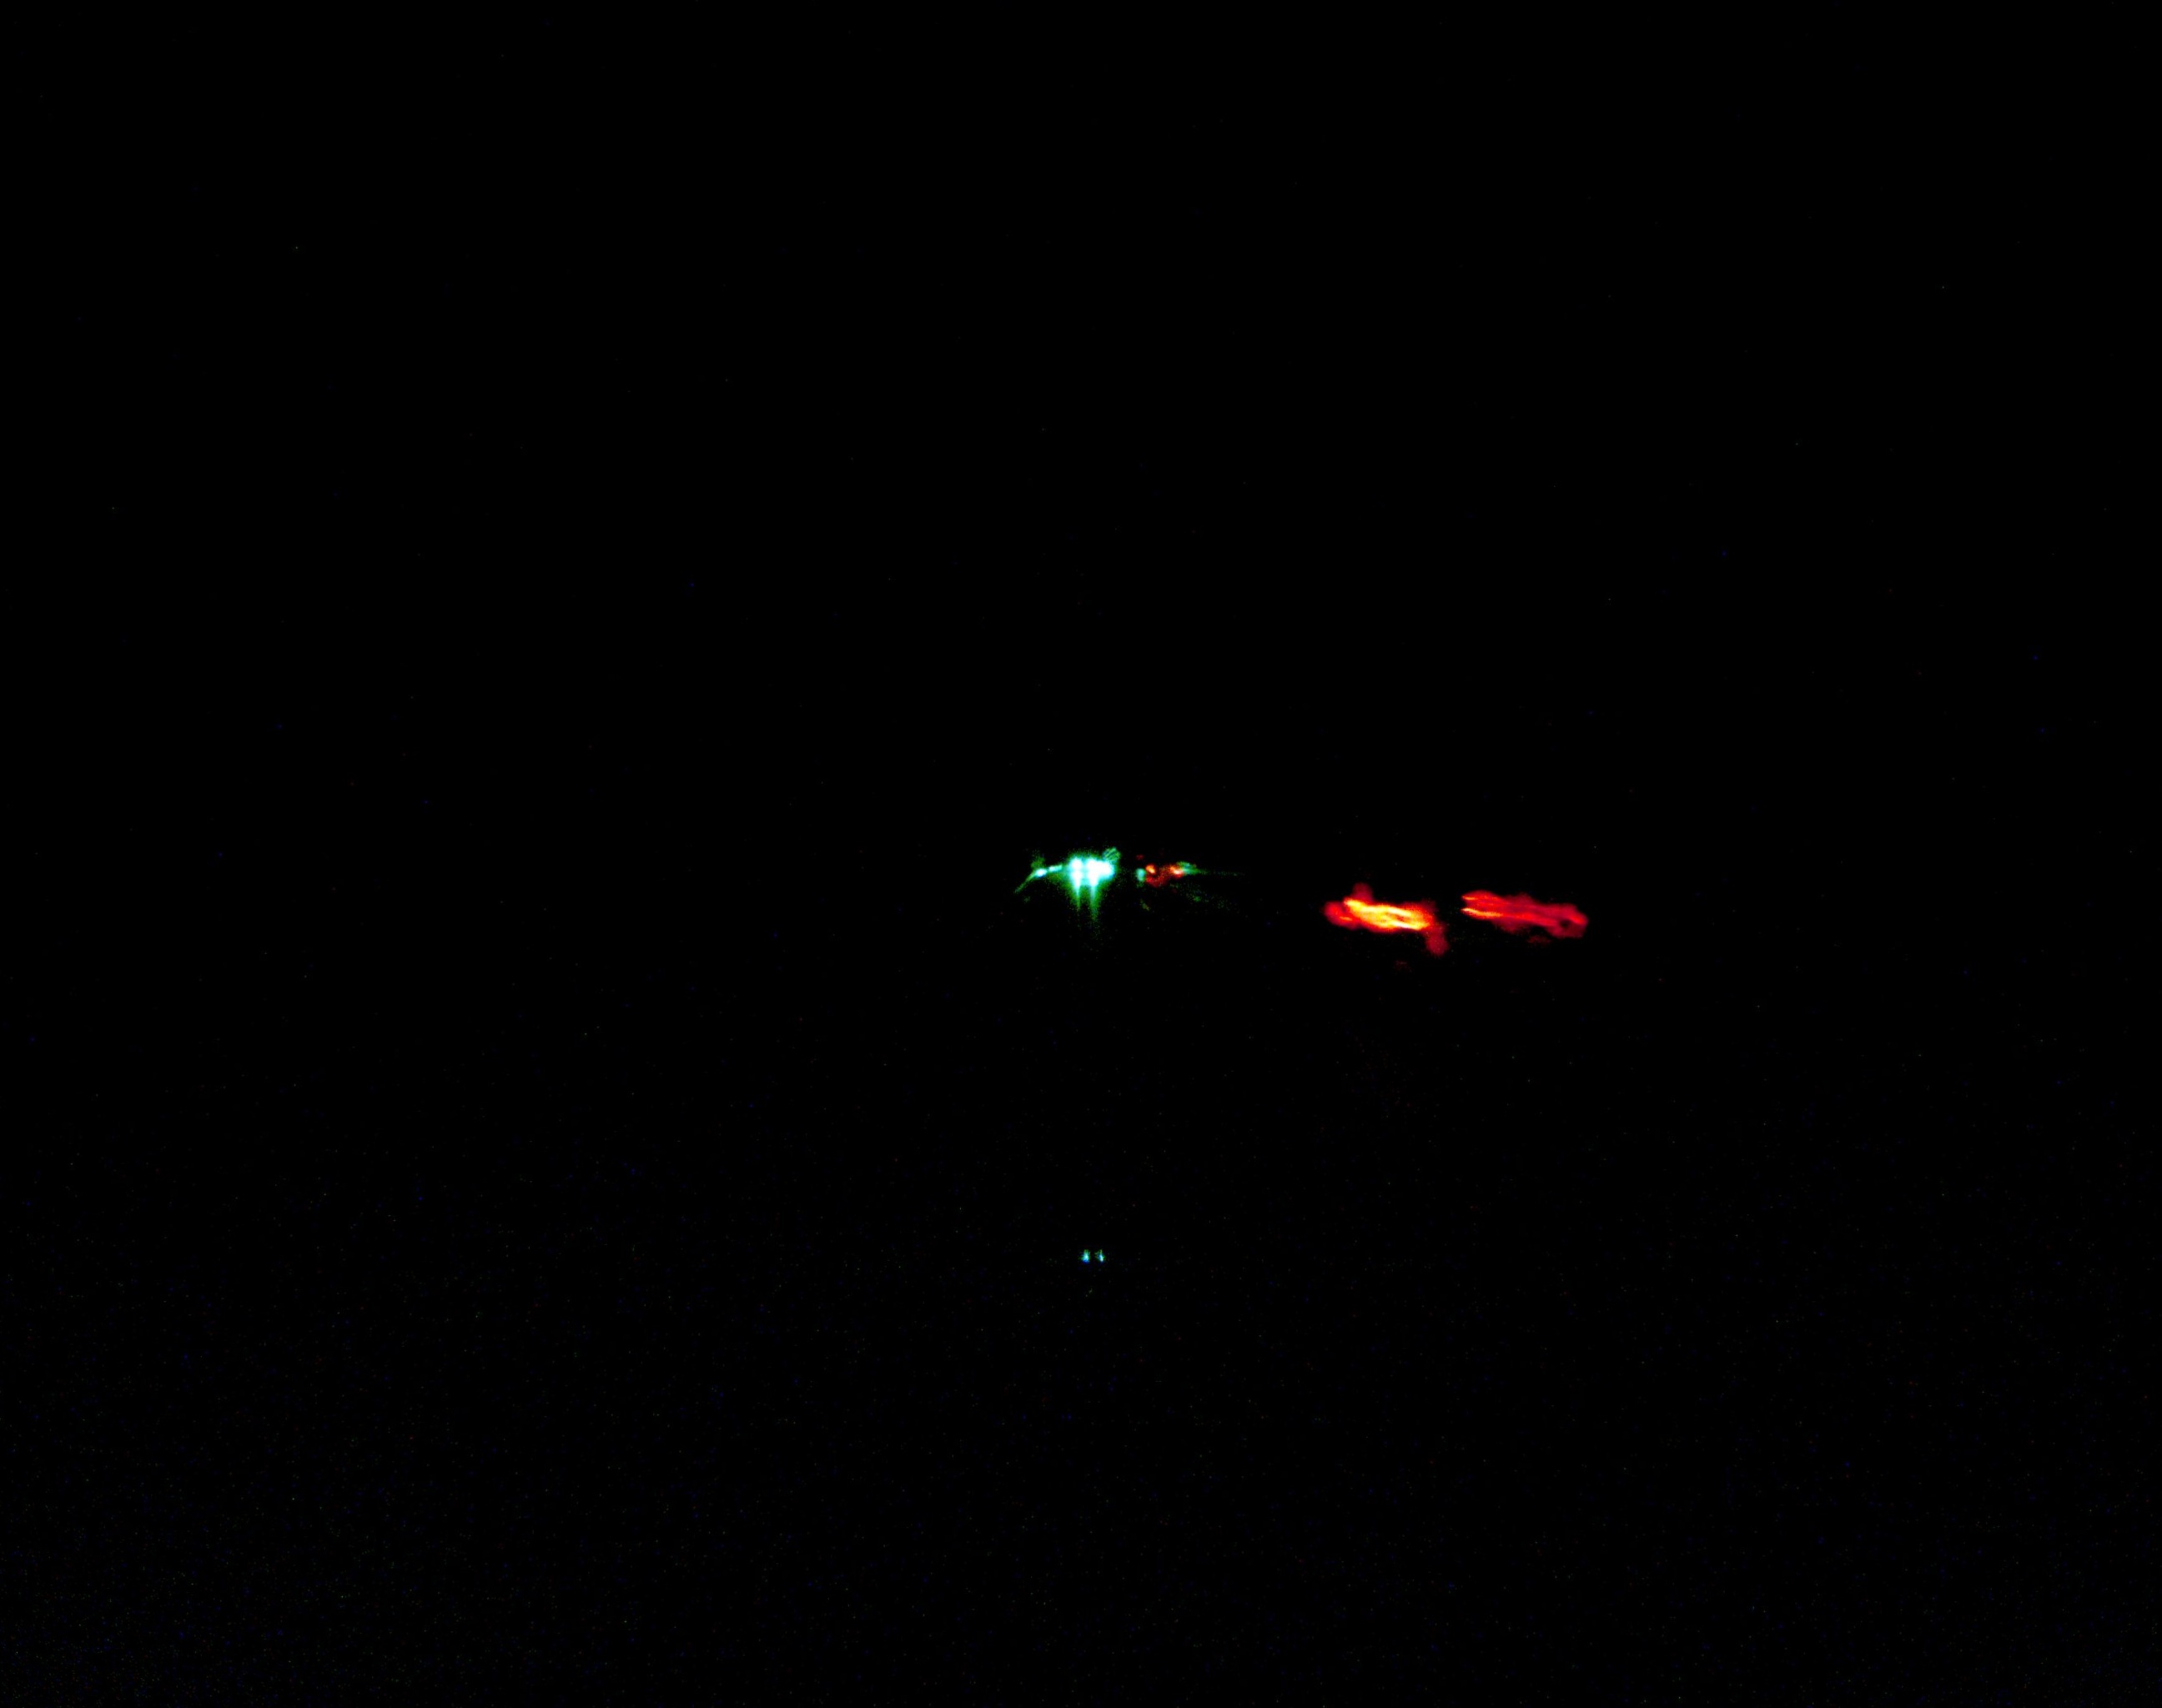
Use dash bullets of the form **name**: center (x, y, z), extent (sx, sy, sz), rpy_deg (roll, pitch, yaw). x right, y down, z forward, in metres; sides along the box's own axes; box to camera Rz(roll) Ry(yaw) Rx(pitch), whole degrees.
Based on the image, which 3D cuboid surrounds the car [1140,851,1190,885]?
- **car**: center (4.078, 0.661, 37.534), extent (1.998, 1.467, 3.924), rpy_deg (-3, 1, 1)

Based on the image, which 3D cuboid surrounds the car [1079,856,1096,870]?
- **car**: center (0.683, 0.984, 84.386), extent (1.807, 1.452, 4.275), rpy_deg (-3, 0, 0)

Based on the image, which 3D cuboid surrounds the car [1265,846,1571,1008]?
- **car**: center (3.741, 0.672, 9.386), extent (1.848, 1.472, 4.248), rpy_deg (-3, 1, 0)
